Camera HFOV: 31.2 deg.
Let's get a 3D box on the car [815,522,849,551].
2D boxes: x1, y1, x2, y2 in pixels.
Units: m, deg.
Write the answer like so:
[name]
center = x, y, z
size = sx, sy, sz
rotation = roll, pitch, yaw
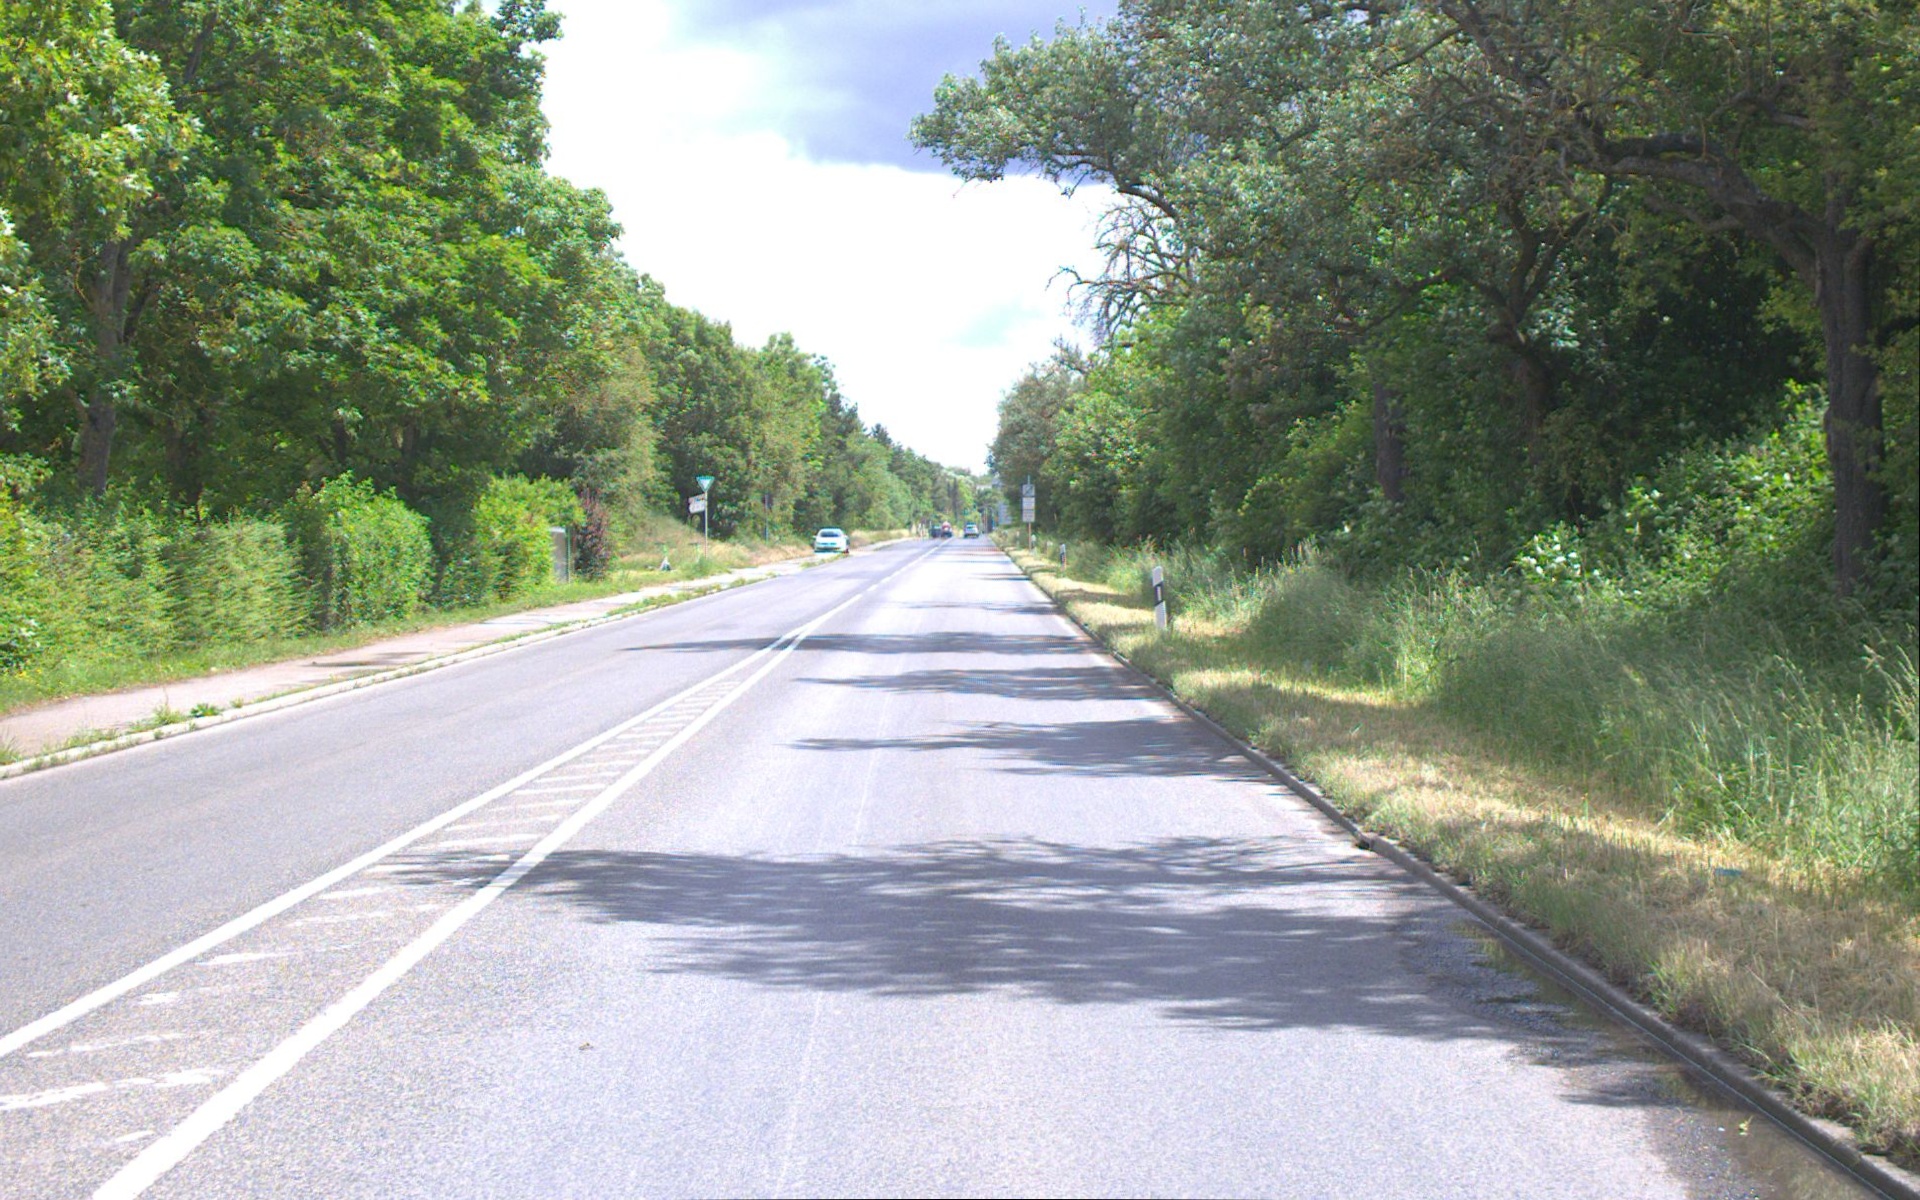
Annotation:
[car]
center = -7.508, -3.720, 201.423
size = 1.798, 1.538, 3.955
rotation = -1, 0, 1
